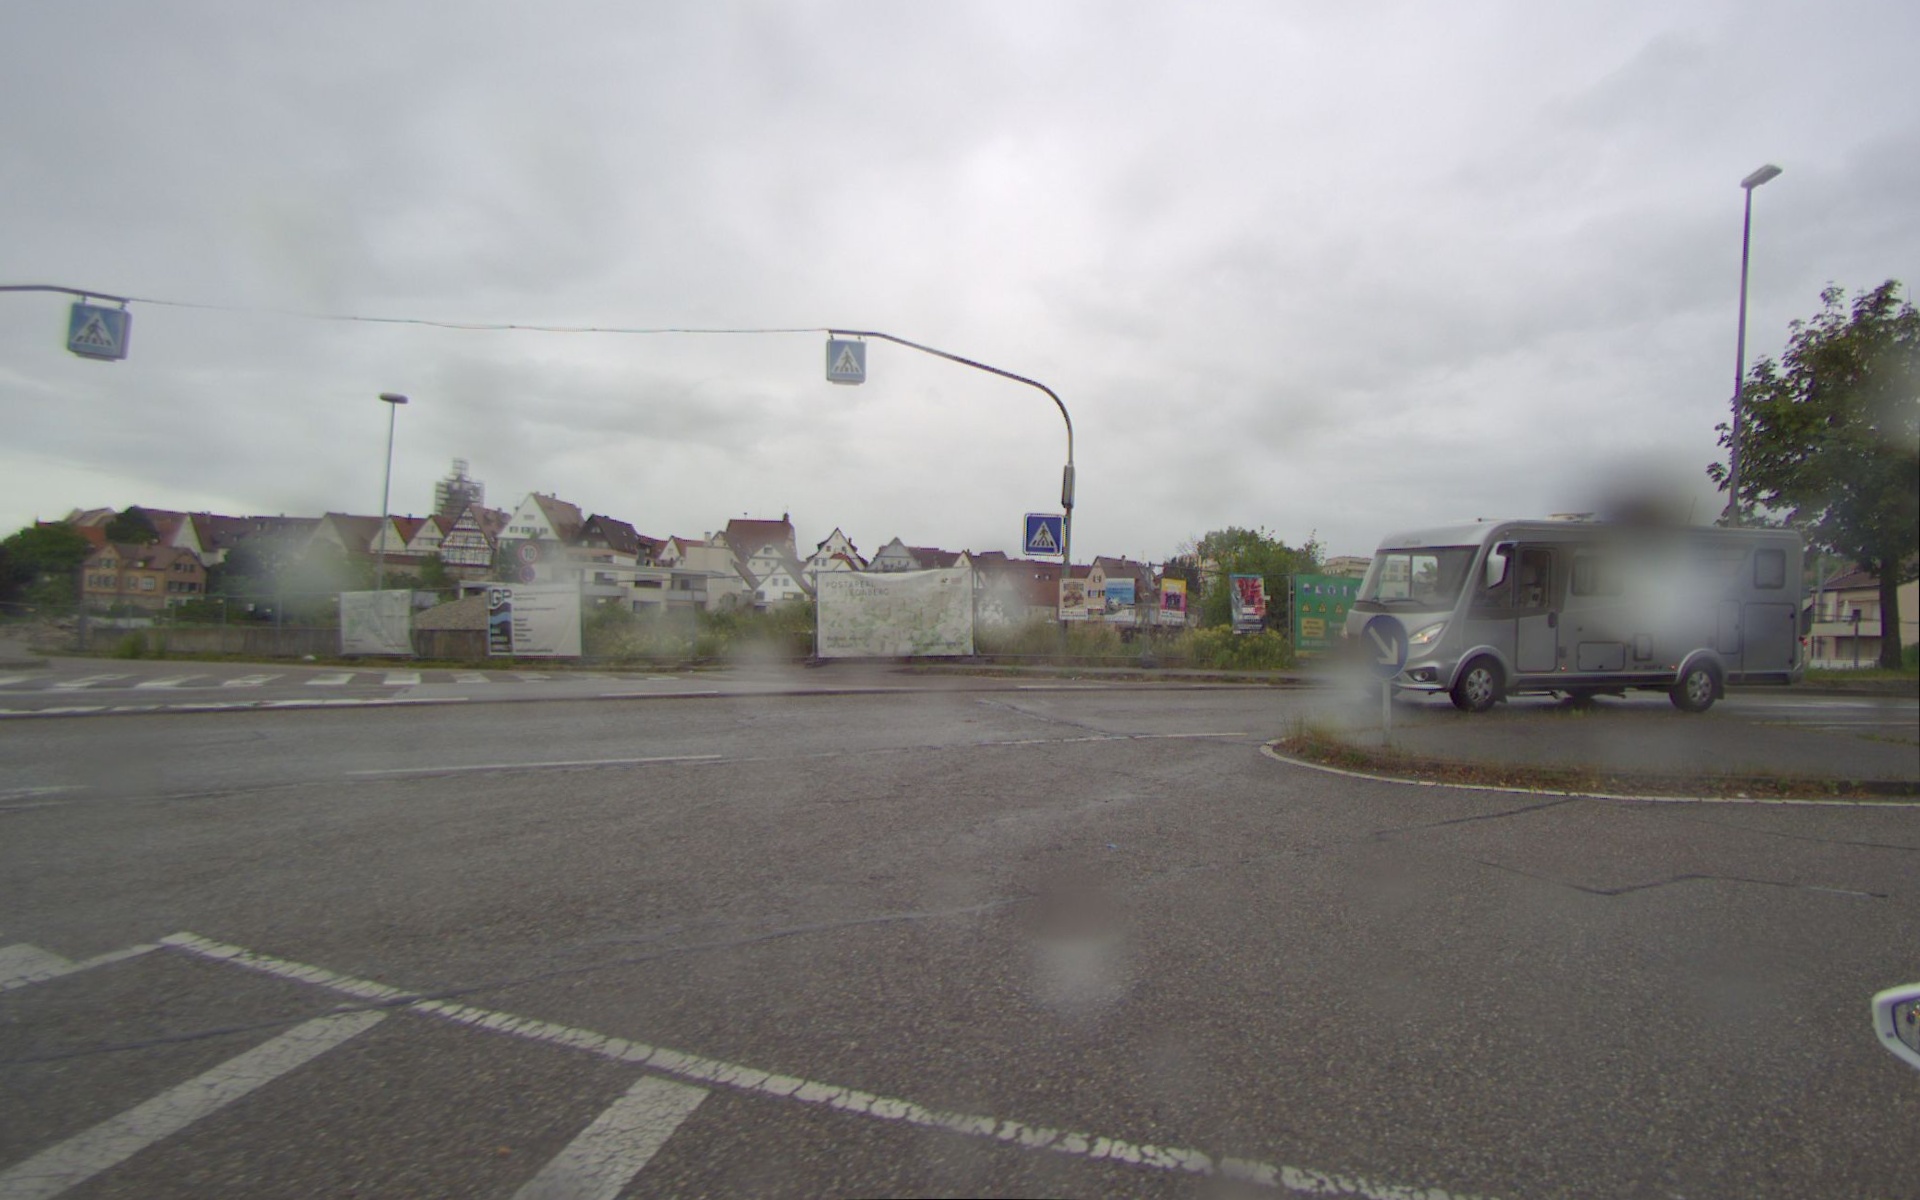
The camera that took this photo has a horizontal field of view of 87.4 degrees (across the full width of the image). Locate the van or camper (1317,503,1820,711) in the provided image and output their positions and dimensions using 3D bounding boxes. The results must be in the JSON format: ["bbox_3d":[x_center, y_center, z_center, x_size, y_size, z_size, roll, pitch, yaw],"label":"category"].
[{"bbox_3d":[9.073,0.159,15.056,6.903,2.691,2.367,1,0,-16],"label":"van or camper"}]
